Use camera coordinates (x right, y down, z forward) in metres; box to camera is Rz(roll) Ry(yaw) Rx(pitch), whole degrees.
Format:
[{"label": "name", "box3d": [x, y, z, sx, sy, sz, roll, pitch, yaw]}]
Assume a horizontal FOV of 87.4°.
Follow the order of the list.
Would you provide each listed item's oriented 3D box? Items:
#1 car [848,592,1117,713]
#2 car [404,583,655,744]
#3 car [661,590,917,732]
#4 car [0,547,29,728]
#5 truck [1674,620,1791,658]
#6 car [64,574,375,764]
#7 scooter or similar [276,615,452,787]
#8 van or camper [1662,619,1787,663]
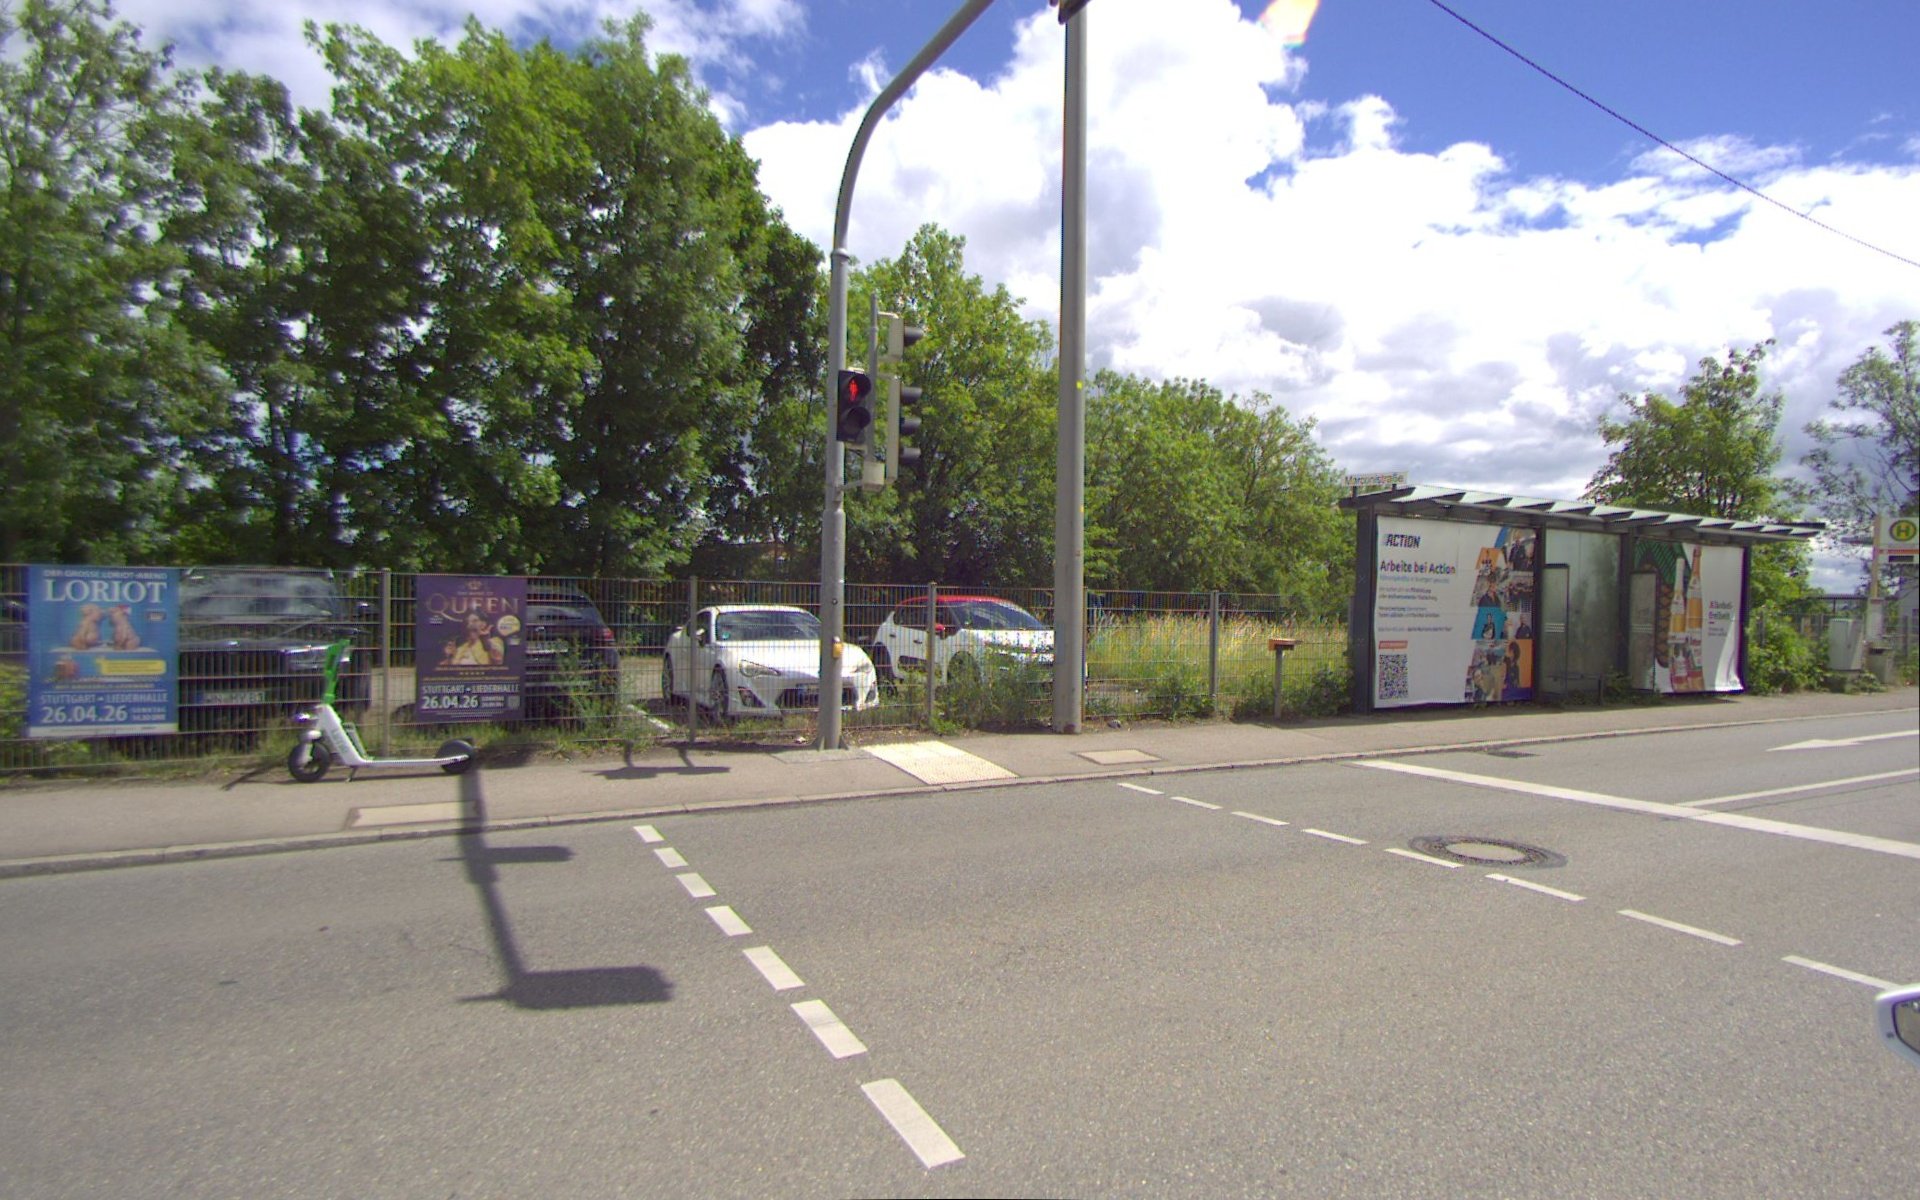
[{"label": "car", "box3d": [0.126, 0.638, 14.279, 1.999, 1.438, 4.294, 1, 0, -28]}, {"label": "car", "box3d": [-4.965, 0.579, 11.234, 1.978, 1.438, 4.080, 1, 0, -32]}, {"label": "car", "box3d": [-2.282, 0.626, 12.423, 1.893, 1.438, 4.085, 1, 0, -29]}, {"label": "car", "box3d": [-9.621, 0.347, 8.420, 1.979, 1.757, 4.078, 1, -1, -33]}, {"label": "truck", "box3d": [52.629, 2.655, 68.503, 6.218, 2.258, 2.690, 1, -2, 40]}, {"label": "car", "box3d": [-6.944, 0.538, 9.896, 1.976, 1.438, 4.083, 1, 0, -30]}, {"label": "scooter or similar", "box3d": [-4.539, 0.748, 7.714, 1.111, 1.227, 0.422, 1, 2, -26]}, {"label": "van or camper", "box3d": [46.038, 2.409, 60.565, 5.816, 2.387, 2.490, 1, 0, 42]}]
